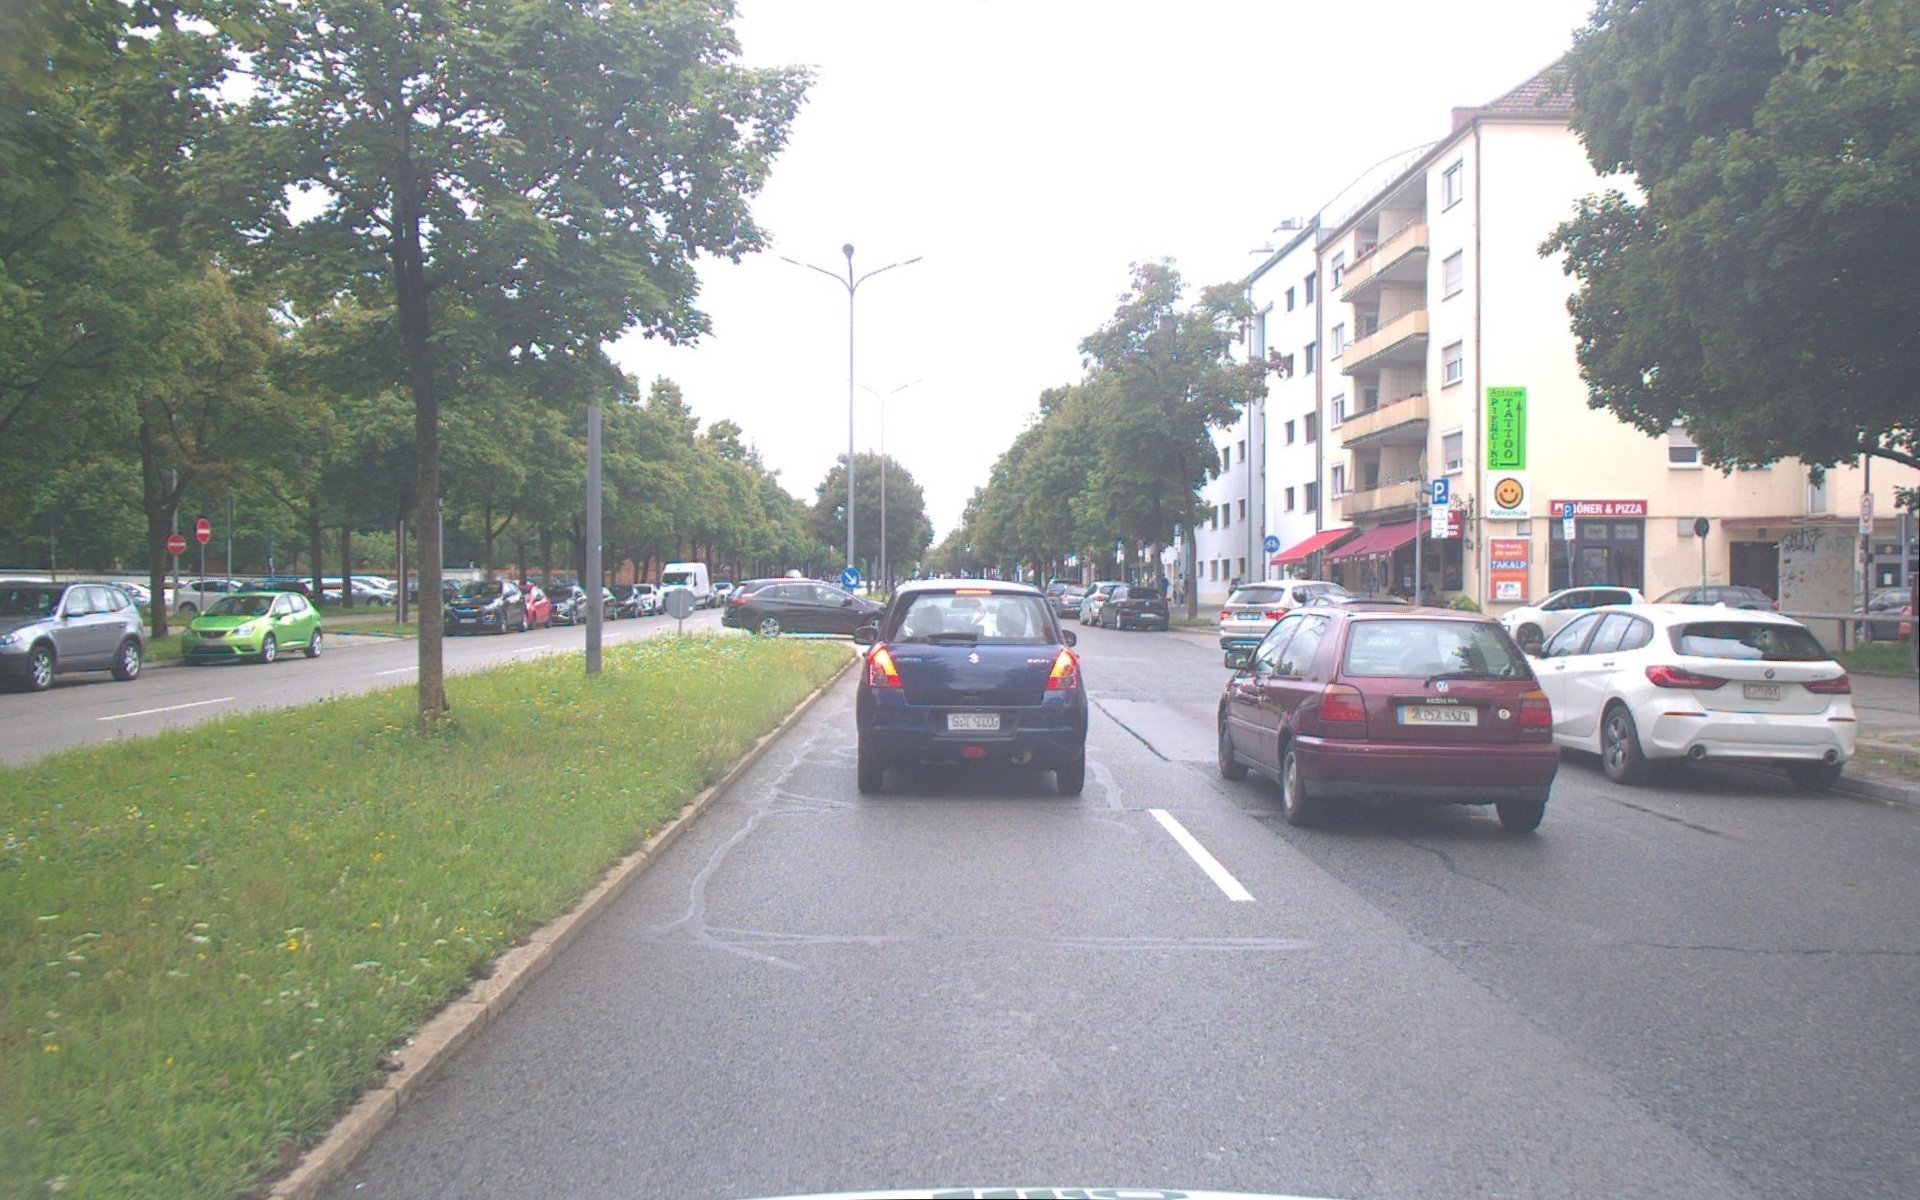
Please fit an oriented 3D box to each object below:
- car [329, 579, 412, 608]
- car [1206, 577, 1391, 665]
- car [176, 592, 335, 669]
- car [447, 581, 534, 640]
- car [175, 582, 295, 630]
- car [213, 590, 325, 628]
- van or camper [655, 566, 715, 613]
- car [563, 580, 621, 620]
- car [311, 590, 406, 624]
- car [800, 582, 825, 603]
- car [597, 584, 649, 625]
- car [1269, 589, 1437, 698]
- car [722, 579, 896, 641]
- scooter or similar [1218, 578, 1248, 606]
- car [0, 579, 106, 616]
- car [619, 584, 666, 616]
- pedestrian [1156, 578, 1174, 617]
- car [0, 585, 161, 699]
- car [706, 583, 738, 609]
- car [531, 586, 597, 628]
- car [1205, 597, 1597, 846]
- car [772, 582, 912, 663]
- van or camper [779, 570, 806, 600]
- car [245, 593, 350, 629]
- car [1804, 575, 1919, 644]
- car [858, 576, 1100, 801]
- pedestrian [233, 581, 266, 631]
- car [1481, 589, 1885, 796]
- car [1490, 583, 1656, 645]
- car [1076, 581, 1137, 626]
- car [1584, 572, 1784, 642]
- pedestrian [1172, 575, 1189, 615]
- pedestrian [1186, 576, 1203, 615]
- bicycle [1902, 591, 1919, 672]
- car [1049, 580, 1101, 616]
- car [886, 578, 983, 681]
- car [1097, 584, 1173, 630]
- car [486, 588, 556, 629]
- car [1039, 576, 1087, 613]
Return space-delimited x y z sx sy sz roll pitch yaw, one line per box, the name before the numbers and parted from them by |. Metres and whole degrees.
car | -31.367 -0.340 88.078 3.792 1.471 1.670 1 0 -6
car | 7.131 0.418 34.598 1.838 1.690 4.381 2 1 42
car | -14.588 0.584 34.445 1.515 1.434 3.880 -2 1 2
car | -14.630 0.305 51.682 1.682 1.771 3.878 1 0 -2
car | -27.832 0.225 63.577 3.843 1.748 1.670 1 0 -6
car | -27.655 0.350 66.296 3.792 1.471 1.670 1 0 -6
van or camper | -15.413 -0.602 93.203 2.073 2.525 7.449 1 0 0
car | -14.927 -0.008 67.319 1.558 1.585 3.878 1 0 -2
car | -27.627 0.316 76.082 3.792 1.471 1.670 1 0 -6
car | -12.564 -0.651 140.751 1.730 1.651 4.506 -2 1 -1
car | -14.977 0.185 73.696 1.599 1.771 3.878 1 0 -2
car | 5.886 0.597 25.148 1.584 1.491 3.673 2 0 -1
car | -3.781 0.224 41.254 4.055 1.494 1.832 0 1 -17
scooter or similar | 13.599 -0.408 82.423 1.011 1.330 2.755 0 1 0
car | -39.819 -0.118 71.925 4.414 1.502 1.672 1 0 0
car | -15.143 0.004 79.028 1.599 1.456 3.878 1 0 -2
pedestrian | 10.644 -0.141 85.932 0.778 2.049 1.006 0 0 0
car | -14.468 0.608 26.089 1.656 1.614 4.370 -2 1 -2
car | -15.507 -0.272 108.075 1.599 1.610 3.878 1 0 -2
car | -14.800 0.240 61.972 1.633 1.471 3.878 1 0 -2
car | 2.907 0.716 11.752 1.648 1.408 3.918 1 1 -1
car | -2.419 0.405 33.097 1.660 1.488 3.706 0 1 -24
van or camper | -19.213 -1.730 189.884 2.509 3.353 6.935 1 0 -2
car | -28.160 0.457 70.395 3.792 1.471 1.670 1 0 -6
car | 24.209 0.217 42.330 4.306 1.690 1.870 -1 1 -4
car | 0.071 0.581 13.242 1.648 1.528 3.918 0 1 -2
pedestrian | -22.493 0.175 52.370 0.712 1.560 0.721 1 0 0
car | 6.174 0.694 14.703 1.648 1.491 4.136 2 1 -2
car | 14.787 0.319 40.043 3.472 1.442 1.873 0 1 9
car | 5.361 0.090 60.865 1.755 1.585 4.223 0 1 -2
car | 18.405 0.154 42.129 4.307 1.690 1.870 -1 1 -6
pedestrian | 11.441 -0.256 85.895 0.778 2.049 1.006 0 0 0
pedestrian | 12.211 -0.245 86.108 0.778 2.049 1.006 0 0 0
bicycle | 13.563 0.447 22.528 0.381 1.124 1.853 1 0 0
car | 5.088 -0.123 73.685 1.828 1.544 4.223 0 1 -2
car | -0.422 0.416 25.881 1.415 1.509 3.105 0 1 -2
car | 5.838 0.198 55.659 1.829 1.442 4.221 0 1 -4
car | -15.072 0.267 56.913 1.558 1.335 3.380 1 0 -2
car | 4.844 -0.288 78.512 1.828 1.712 4.223 0 1 -2
